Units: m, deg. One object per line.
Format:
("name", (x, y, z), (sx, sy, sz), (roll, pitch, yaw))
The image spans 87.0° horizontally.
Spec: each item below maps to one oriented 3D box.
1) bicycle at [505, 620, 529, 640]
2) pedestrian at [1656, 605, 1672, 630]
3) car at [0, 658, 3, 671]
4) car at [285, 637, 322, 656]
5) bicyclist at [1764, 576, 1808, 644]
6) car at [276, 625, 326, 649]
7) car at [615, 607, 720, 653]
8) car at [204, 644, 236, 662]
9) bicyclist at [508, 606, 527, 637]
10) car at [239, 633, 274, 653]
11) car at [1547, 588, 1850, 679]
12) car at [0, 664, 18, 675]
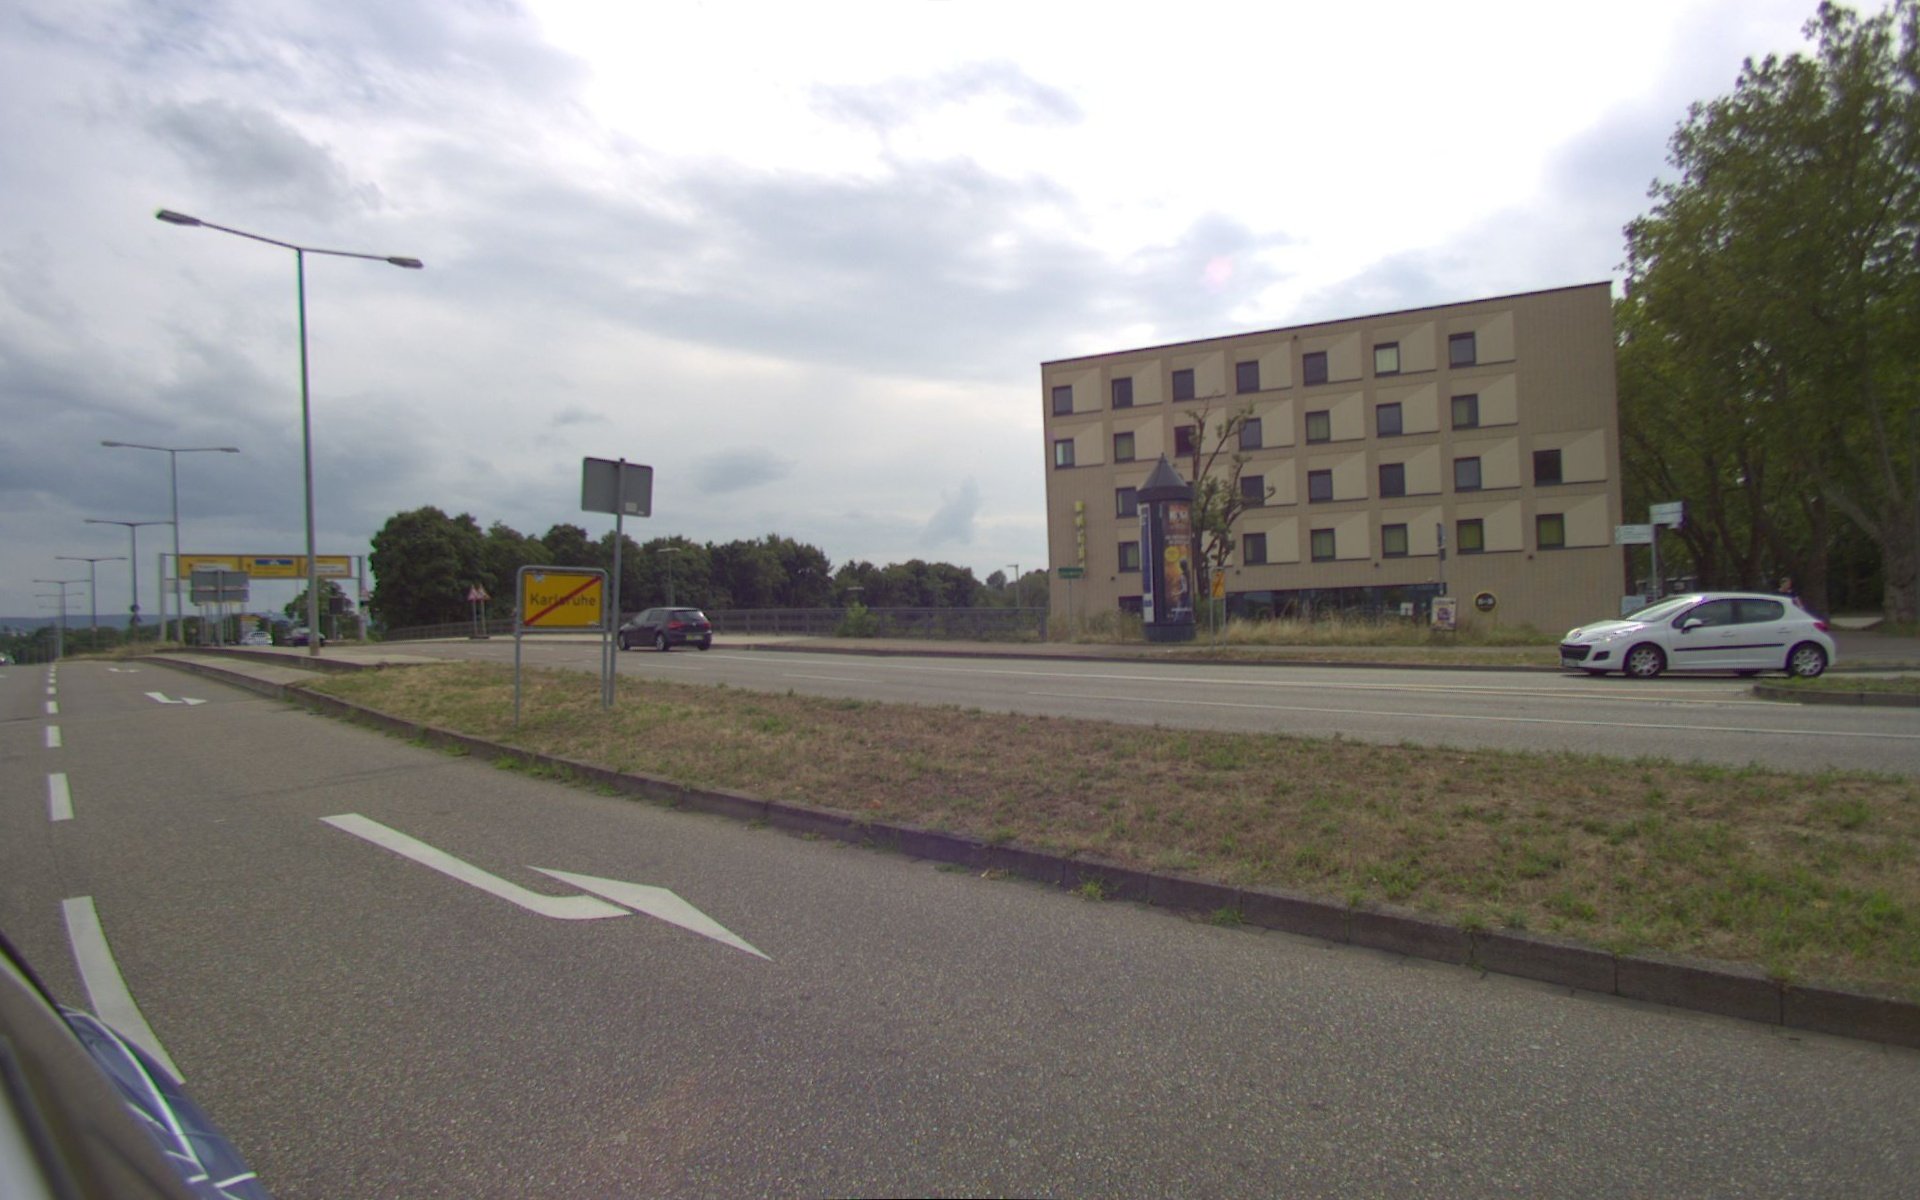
("bicycle", (-24.415, 1.677, 55.792), (0.675, 1.061, 1.998), (-1, 0, -39))
("pedestrian", (32.028, 0.797, 46.045), (0.500, 1.133, 0.458), (-2, -1, 31))
("car", (-102.630, 6.877, 107.090), (1.834, 1.353, 4.004), (-1, -1, -42))
("car", (-62.748, 4.454, 96.792), (1.718, 1.671, 4.090), (0, -1, -14))
("bicyclist", (20.252, 0.252, 24.837), (0.740, 1.627, 0.909), (-2, -1, 36))
("car", (-42.546, 2.372, 65.304), (1.800, 1.457, 4.355), (-1, 0, -45))
("car", (-9.884, 0.989, 34.046), (1.771, 1.429, 4.004), (-1, -1, -43))
("car", (-64.491, 4.625, 88.178), (1.721, 1.421, 3.879), (1, -2, -44))
("bicyclist", (-24.387, 1.193, 55.769), (0.675, 1.684, 0.849), (-1, -1, -39))
("car", (-53.463, 3.232, 76.896), (1.597, 1.421, 3.864), (1, -2, -43))
("car", (12.588, 0.557, 17.462), (3.827, 1.456, 1.729), (-1, 0, 5))
("car", (-134.791, 9.808, 143.479), (1.834, 1.353, 4.004), (-1, -1, -43))
